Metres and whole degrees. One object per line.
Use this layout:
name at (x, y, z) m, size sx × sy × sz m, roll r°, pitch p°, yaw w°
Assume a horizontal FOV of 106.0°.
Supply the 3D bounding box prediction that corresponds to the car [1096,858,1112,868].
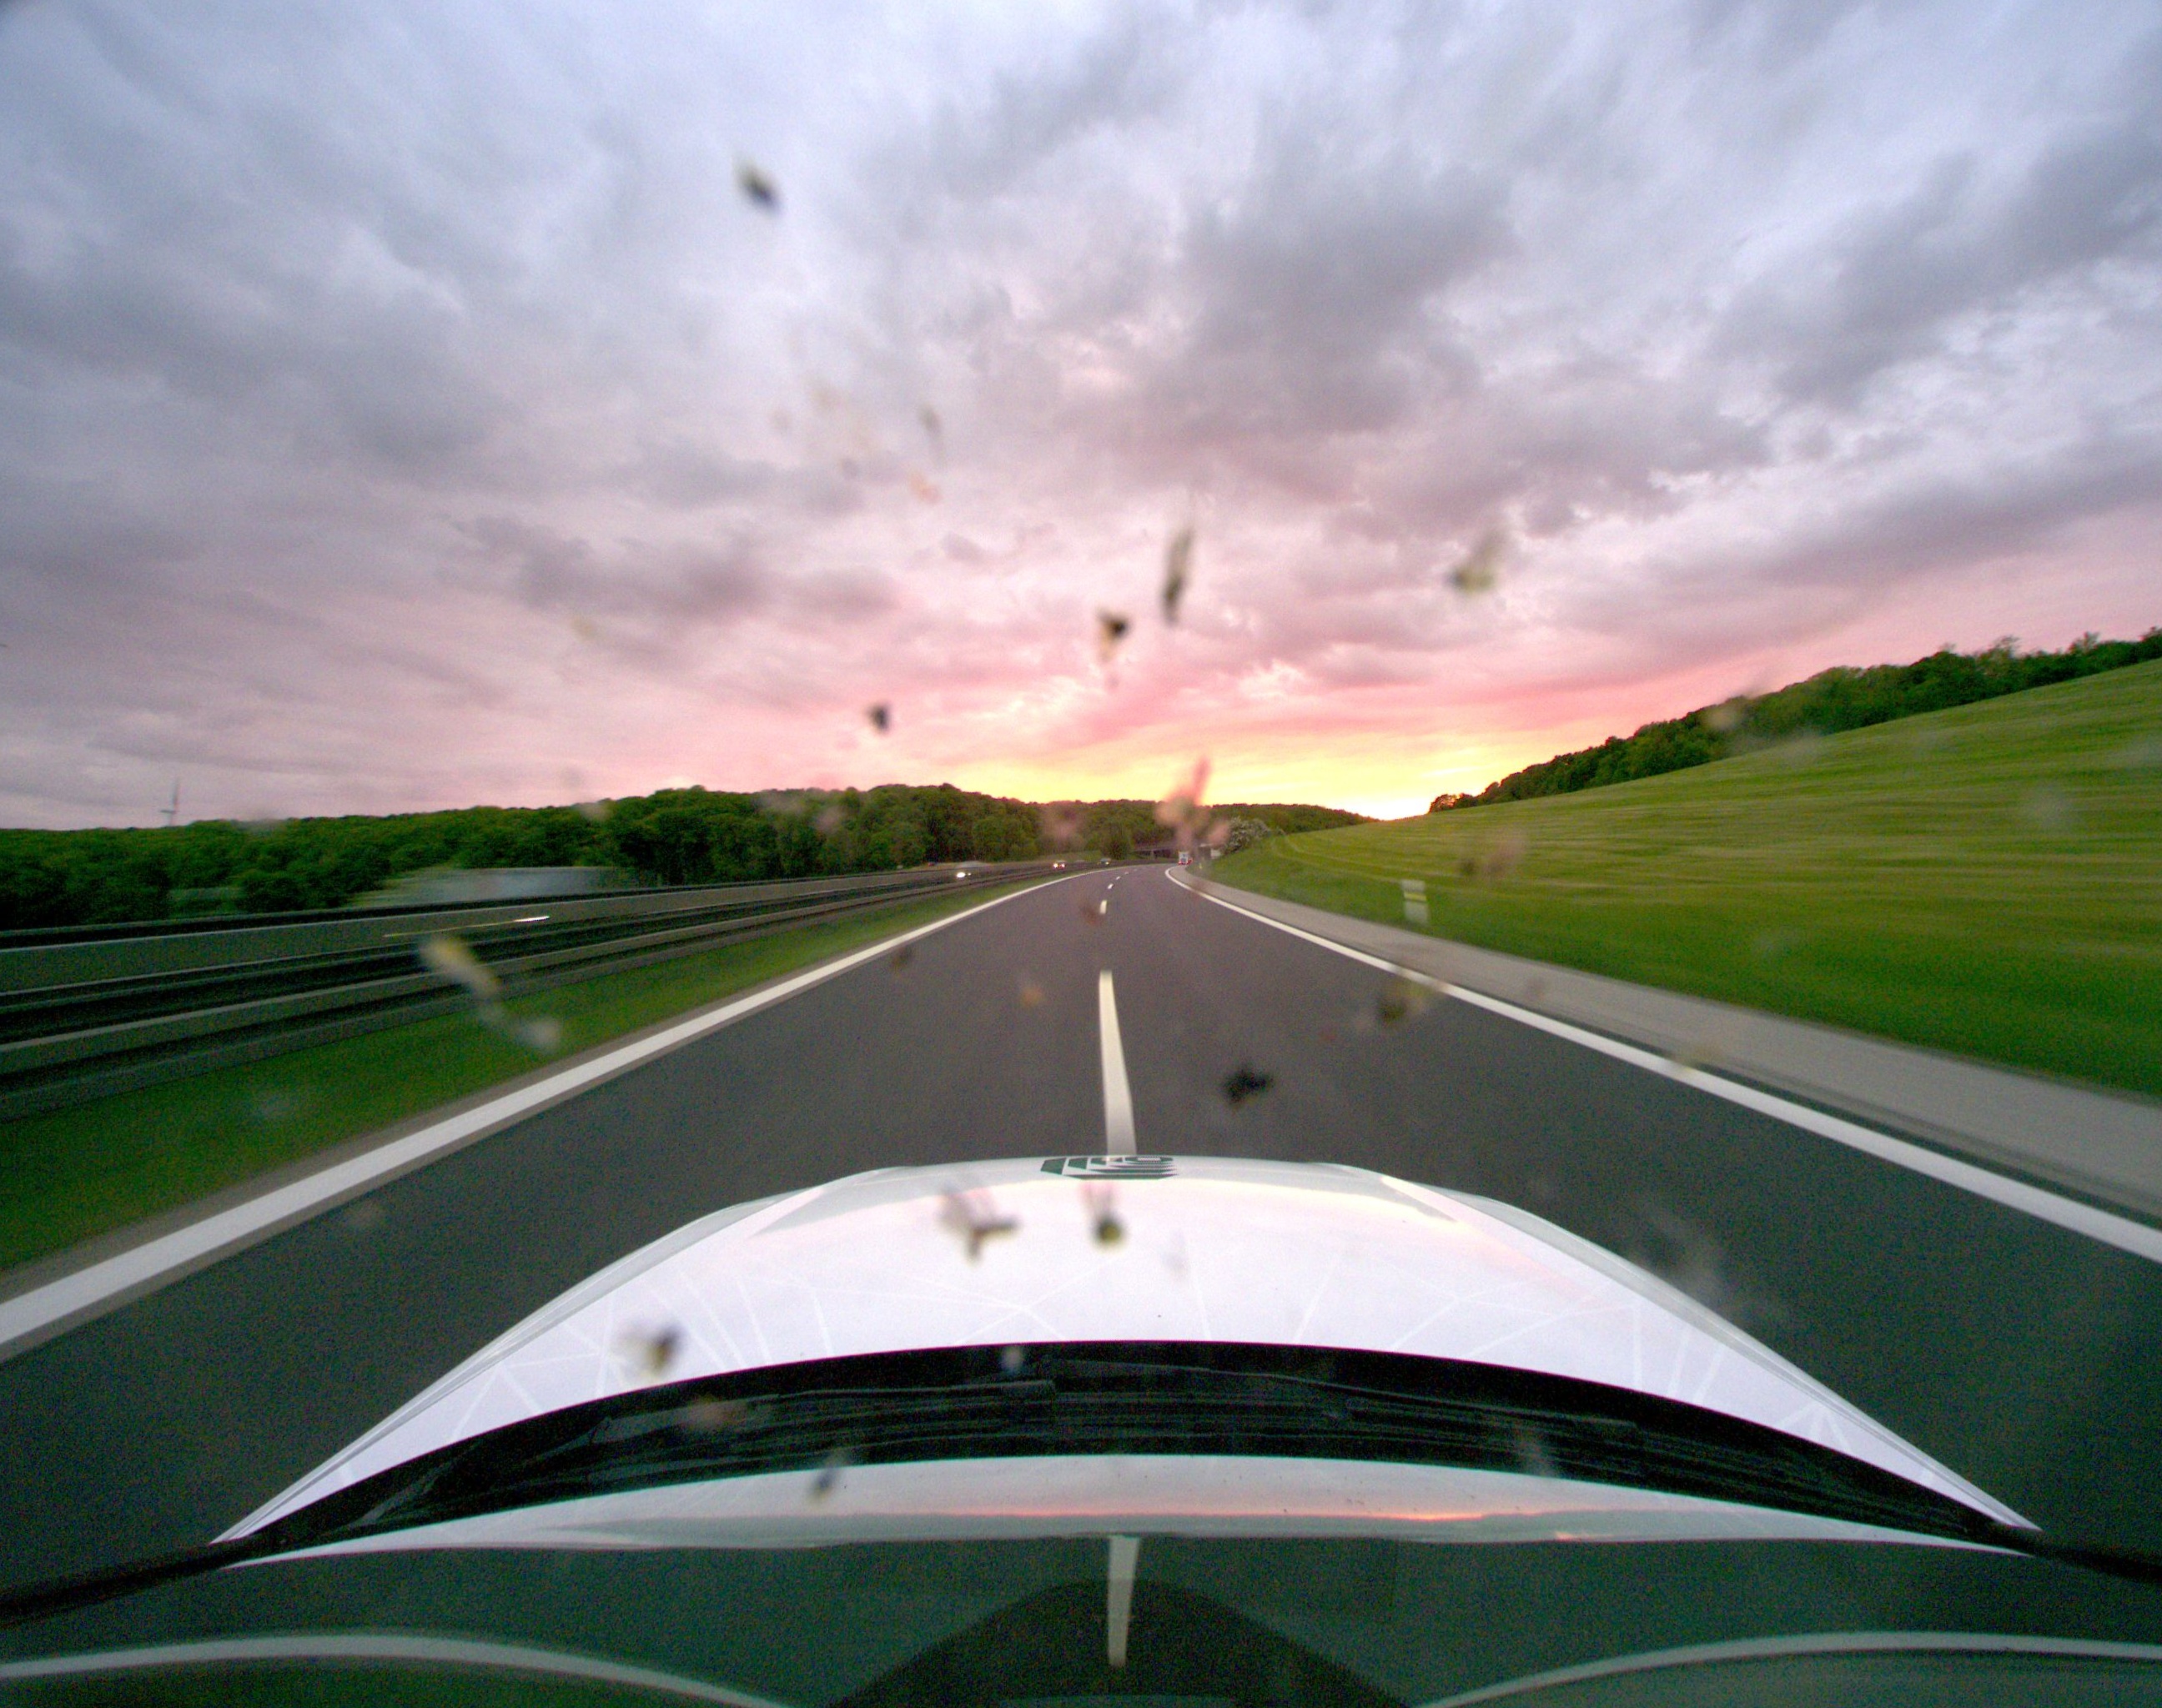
car at (4.151, 1.559, 145.811) m, size 1.981 × 1.727 × 4.785 m, roll -1°, pitch -1°, yaw 11°

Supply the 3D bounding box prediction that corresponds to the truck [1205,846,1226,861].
truck at (39.538, -0.103, 238.194) m, size 3.926 × 4.287 × 14.388 m, roll -2°, pitch -1°, yaw 18°

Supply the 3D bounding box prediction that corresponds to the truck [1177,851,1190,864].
truck at (21.357, 0.694, 169.131) m, size 2.261 × 2.665 × 5.252 m, roll -3°, pitch 0°, yaw 11°

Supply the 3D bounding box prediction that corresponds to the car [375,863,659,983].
car at (-9.372, 1.025, 14.088) m, size 1.836 × 1.596 × 4.405 m, roll -3°, pitch 0°, yaw -2°
